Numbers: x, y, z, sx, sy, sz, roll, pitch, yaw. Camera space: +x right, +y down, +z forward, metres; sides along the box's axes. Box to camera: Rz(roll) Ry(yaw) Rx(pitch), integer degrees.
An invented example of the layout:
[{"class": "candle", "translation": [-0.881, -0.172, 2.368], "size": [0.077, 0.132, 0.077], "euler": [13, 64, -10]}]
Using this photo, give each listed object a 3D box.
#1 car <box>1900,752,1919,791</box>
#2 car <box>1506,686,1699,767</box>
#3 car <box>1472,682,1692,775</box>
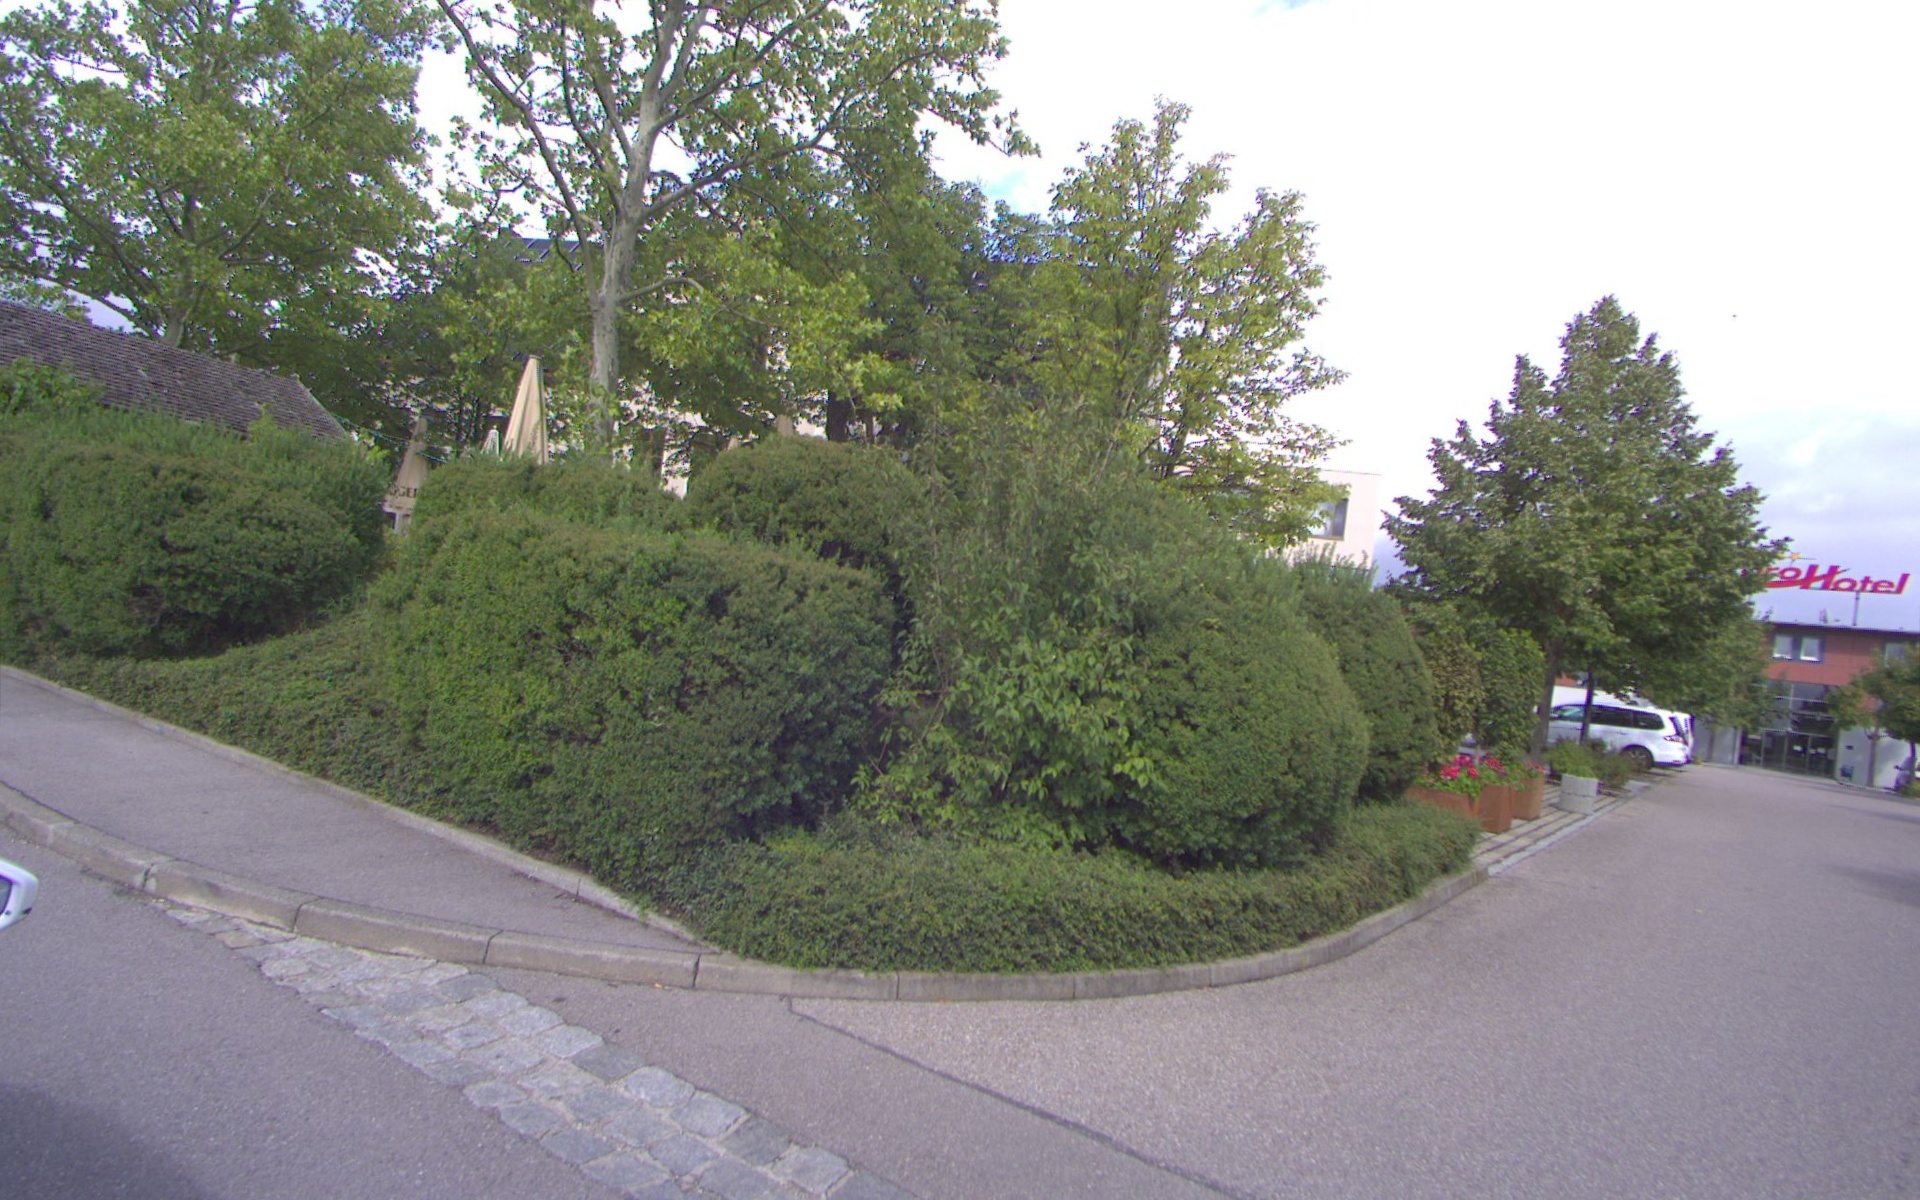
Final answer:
[{"class": "car", "translation": [48.118, 8.588, 49.720], "size": [1.648, 1.802, 3.992], "euler": [7, -2, 35]}, {"class": "car", "translation": [20.658, 4.036, 32.472], "size": [5.003, 1.731, 1.593], "euler": [7, -2, 38]}, {"class": "car", "translation": [17.473, 3.575, 28.424], "size": [5.003, 1.731, 1.745], "euler": [7, -2, 38]}]
